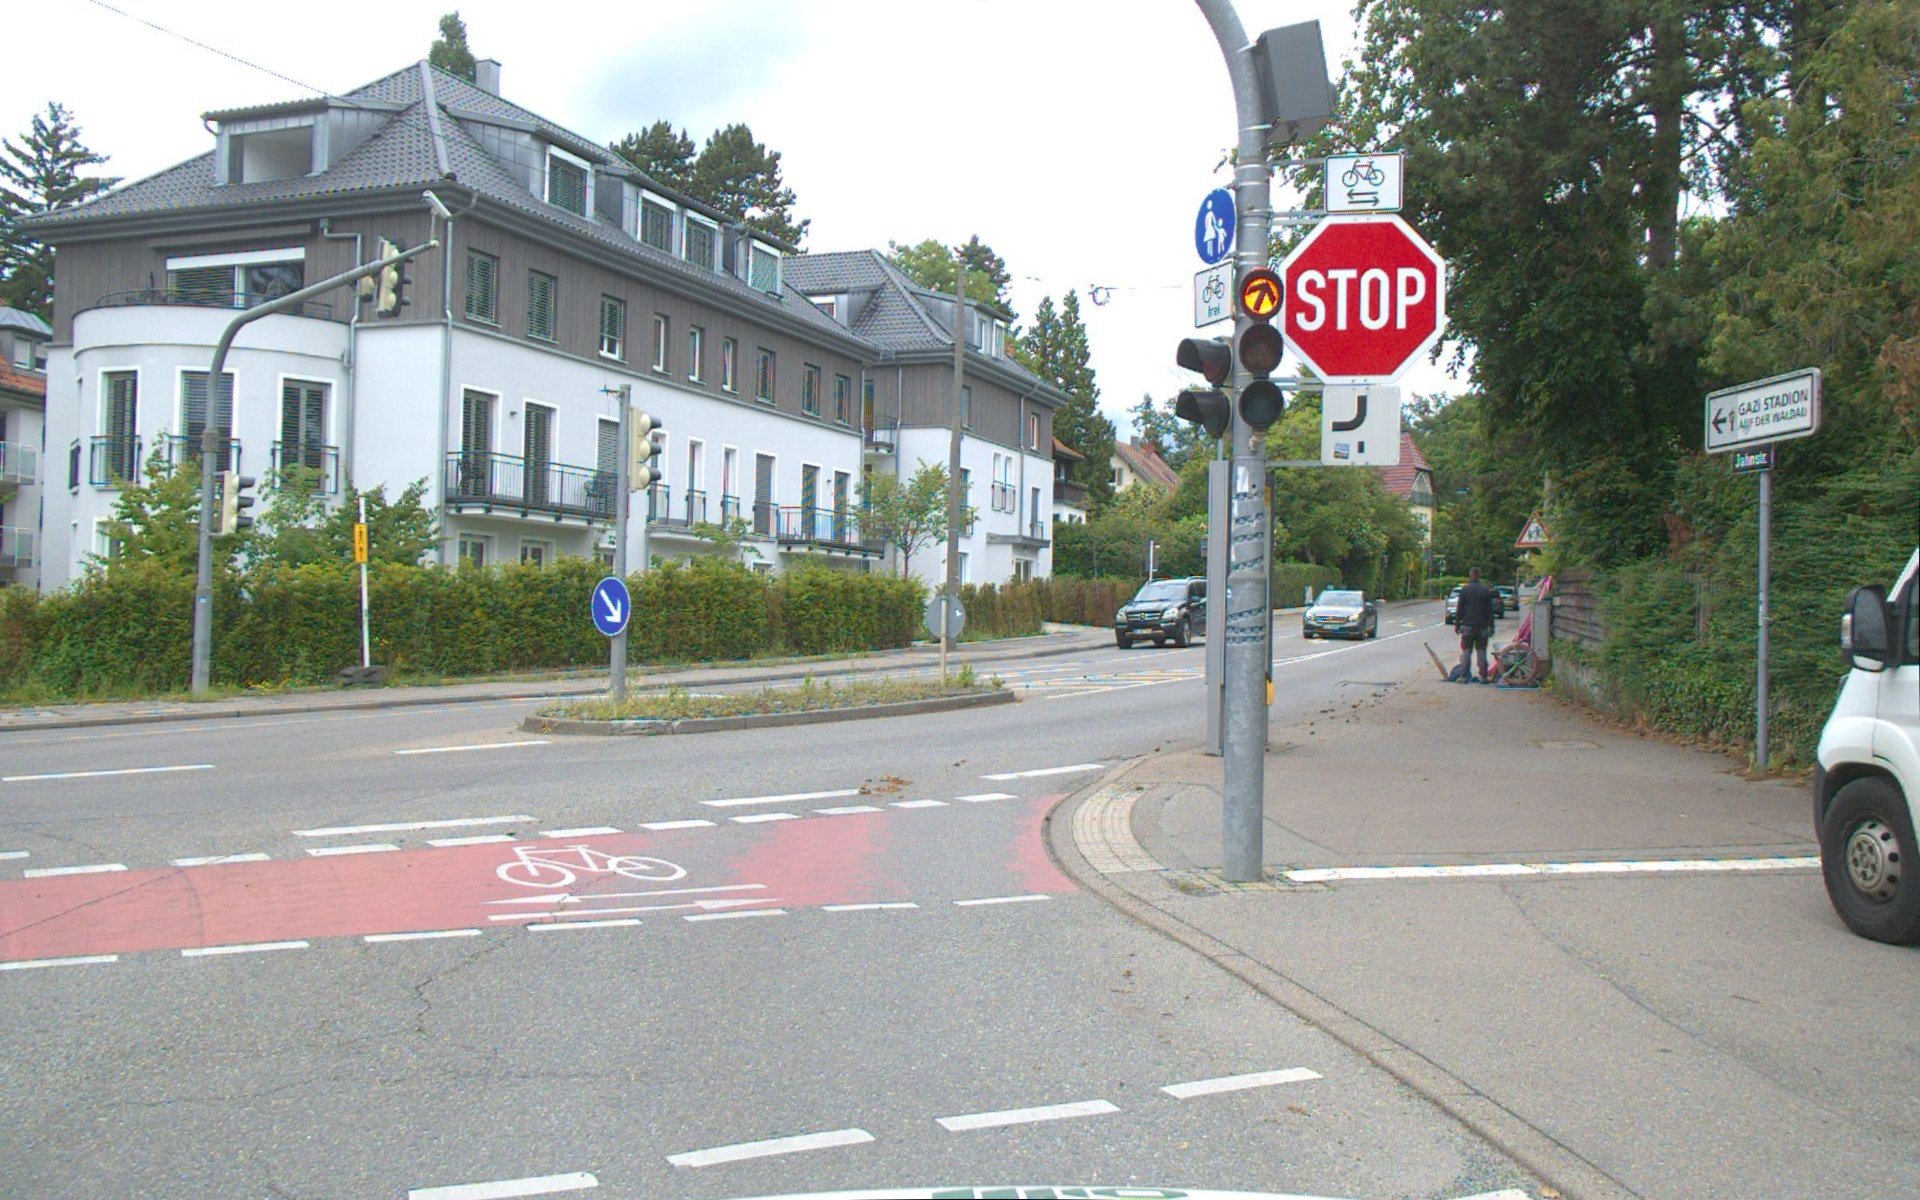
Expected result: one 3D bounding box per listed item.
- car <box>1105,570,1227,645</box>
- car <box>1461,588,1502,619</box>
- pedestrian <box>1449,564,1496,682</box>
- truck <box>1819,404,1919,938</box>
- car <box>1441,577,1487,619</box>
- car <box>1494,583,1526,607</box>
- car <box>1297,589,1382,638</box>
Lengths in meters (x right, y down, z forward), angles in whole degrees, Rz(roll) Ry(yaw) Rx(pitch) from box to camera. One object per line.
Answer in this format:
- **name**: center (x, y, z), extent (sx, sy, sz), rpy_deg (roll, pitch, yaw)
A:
- **car**: center (5.702, 0.214, 45.201), extent (1.874, 1.913, 5.139), rpy_deg (-1, -1, 24)
- **car**: center (27.527, 0.172, 87.148), extent (1.763, 1.553, 4.743), rpy_deg (-1, 0, 21)
- **pedestrian**: center (8.532, 0.377, 27.525), extent (0.584, 1.940, 0.558), rpy_deg (1, 0, 0)
- **truck**: center (5.144, 0.317, 5.032), extent (2.162, 2.283, 5.724), rpy_deg (1, 0, 1)
- **car**: center (22.574, -0.099, 74.063), extent (1.770, 1.784, 4.488), rpy_deg (-1, 0, 19)
- **car**: center (34.329, -0.329, 103.165), extent (1.659, 1.455, 3.748), rpy_deg (-1, 0, 22)
- **car**: center (11.982, 0.384, 52.044), extent (1.899, 1.428, 4.742), rpy_deg (1, 1, 22)
